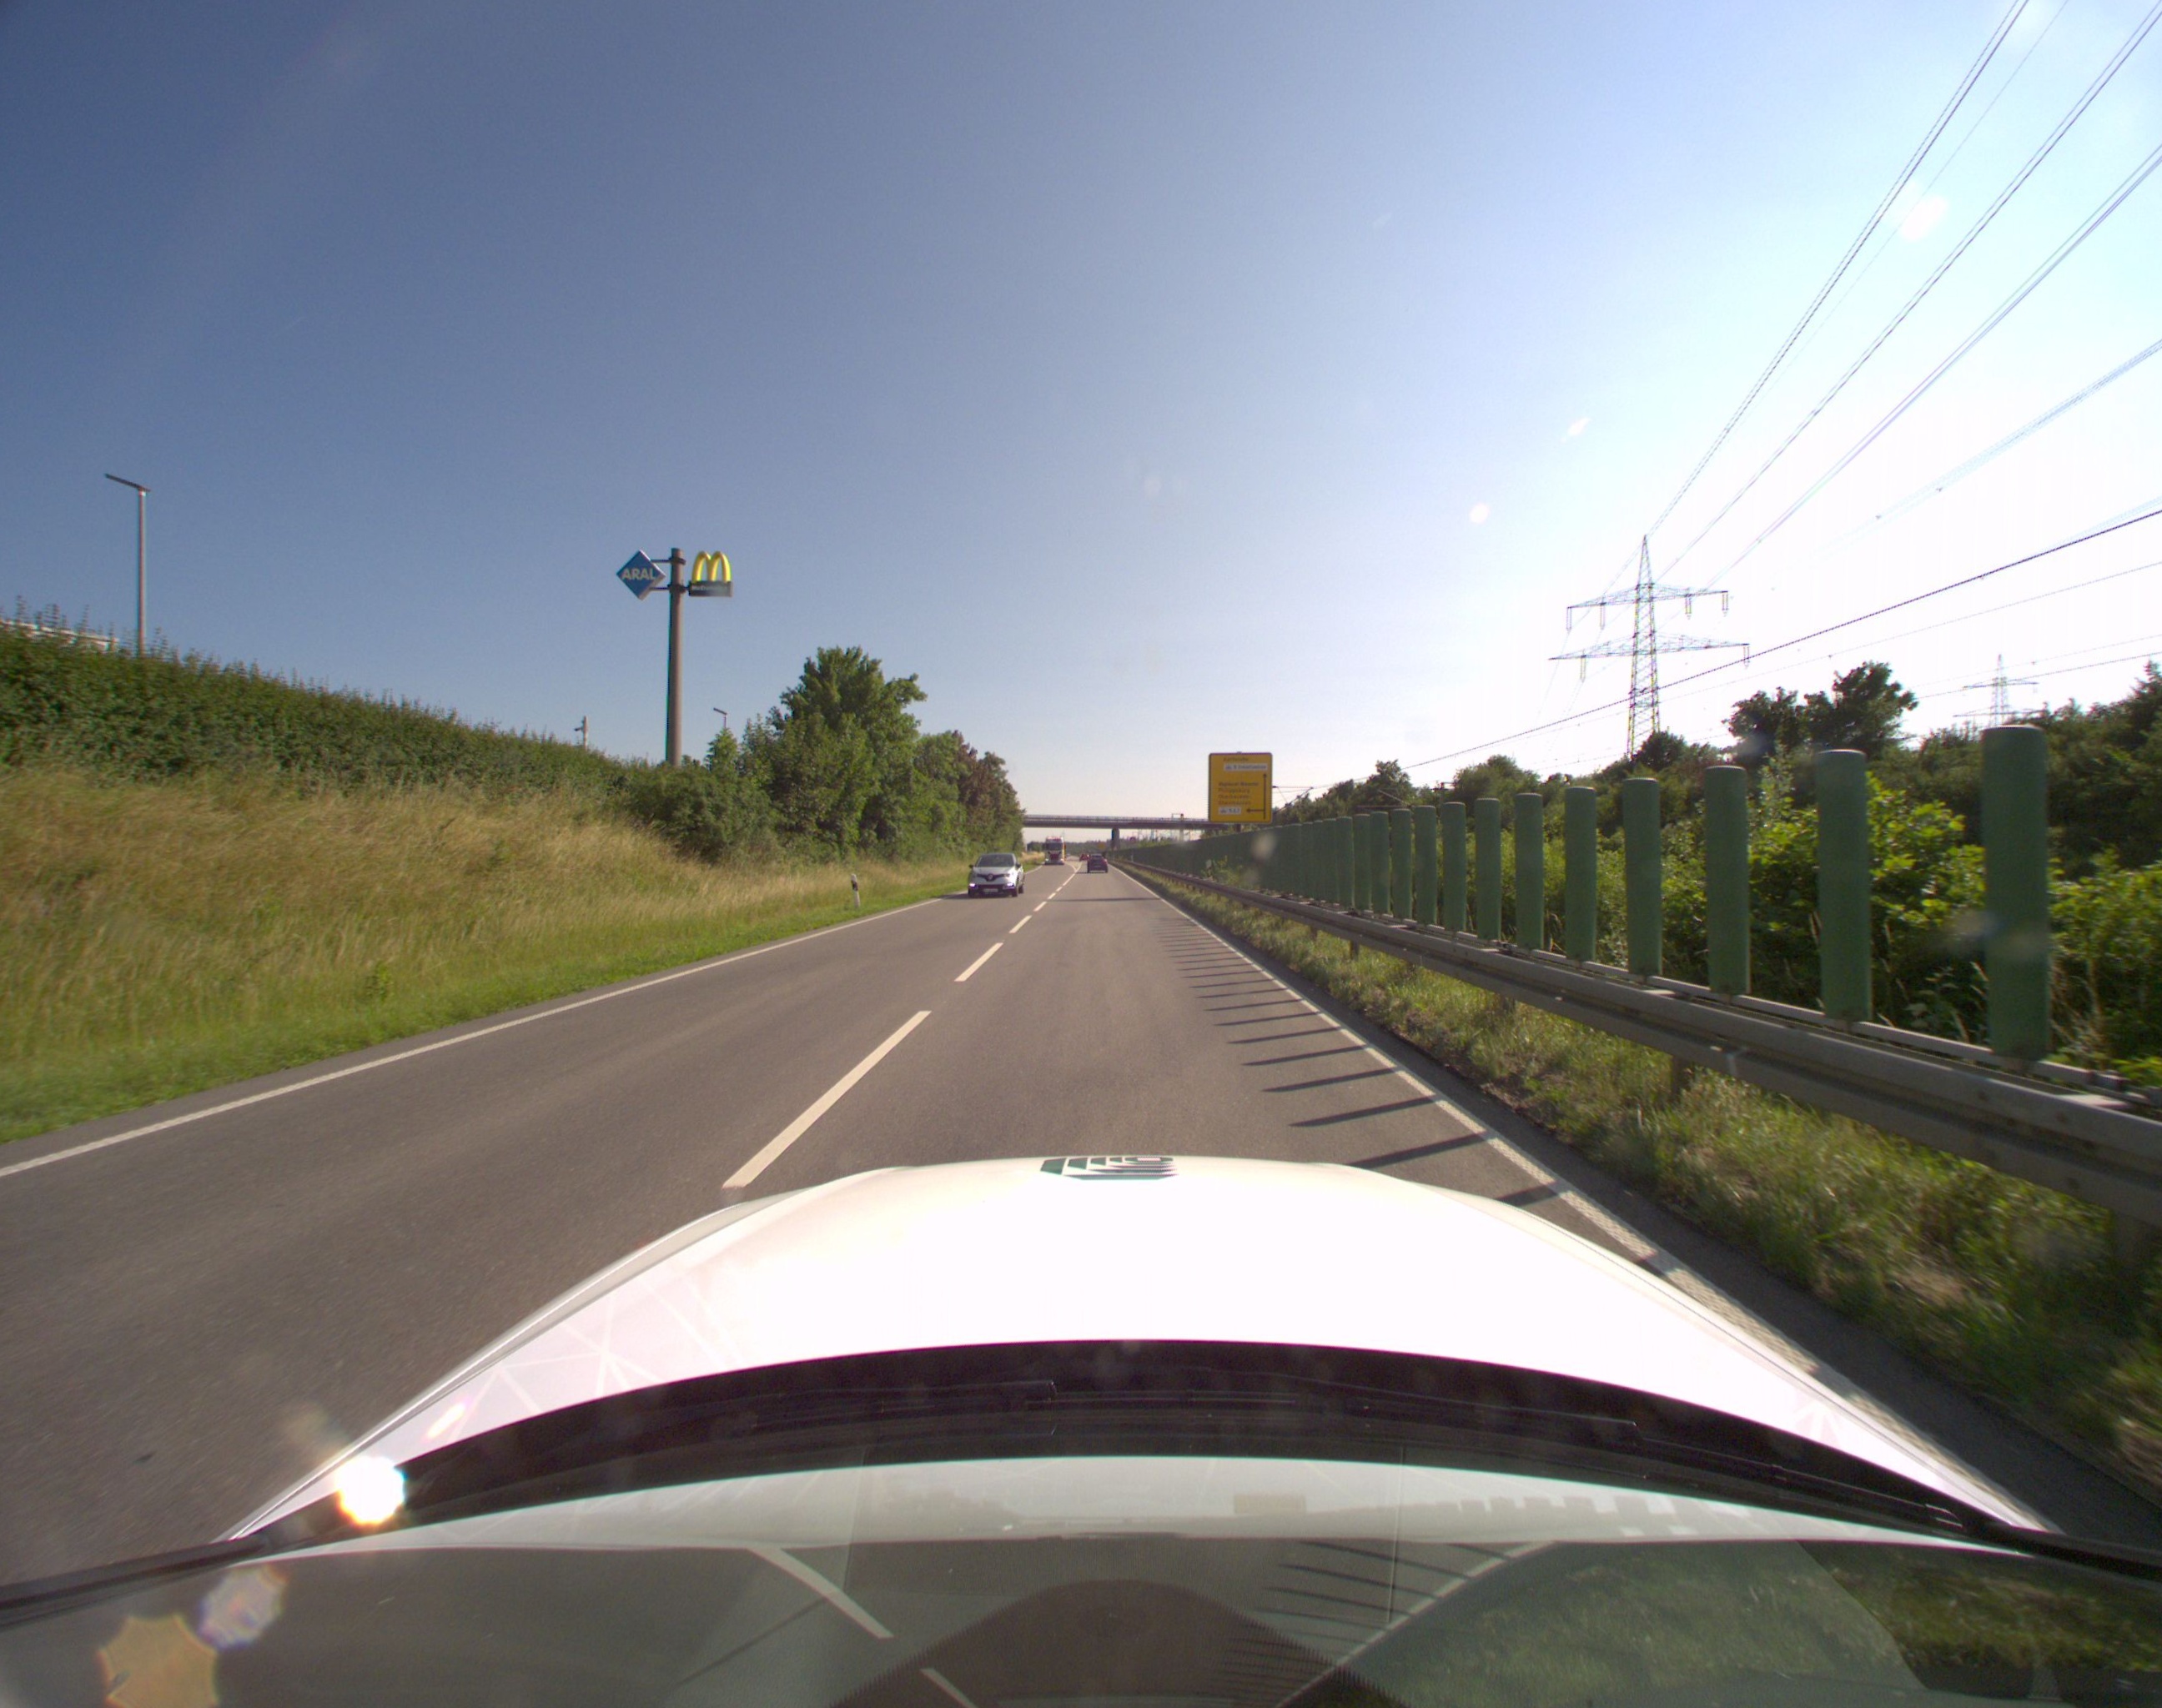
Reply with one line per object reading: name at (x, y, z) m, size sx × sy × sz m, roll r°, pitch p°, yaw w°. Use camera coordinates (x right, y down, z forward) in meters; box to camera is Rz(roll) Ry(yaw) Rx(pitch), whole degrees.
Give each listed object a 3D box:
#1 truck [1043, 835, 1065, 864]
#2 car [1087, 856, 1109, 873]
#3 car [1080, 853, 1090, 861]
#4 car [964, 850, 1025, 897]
truck at (-3.589, -0.635, 110.027) m, size 2.551 × 3.688 × 10.486 m, roll 0°, pitch 0°, yaw 0°
car at (1.331, 0.824, 64.643) m, size 1.658 × 1.261 × 3.999 m, roll 0°, pitch 0°, yaw 0°
car at (0.756, 0.631, 150.561) m, size 1.889 × 1.418 × 3.999 m, roll 0°, pitch 0°, yaw 0°
car at (-3.106, 0.688, 30.077) m, size 1.790 × 1.593 × 3.999 m, roll 0°, pitch 0°, yaw 0°
